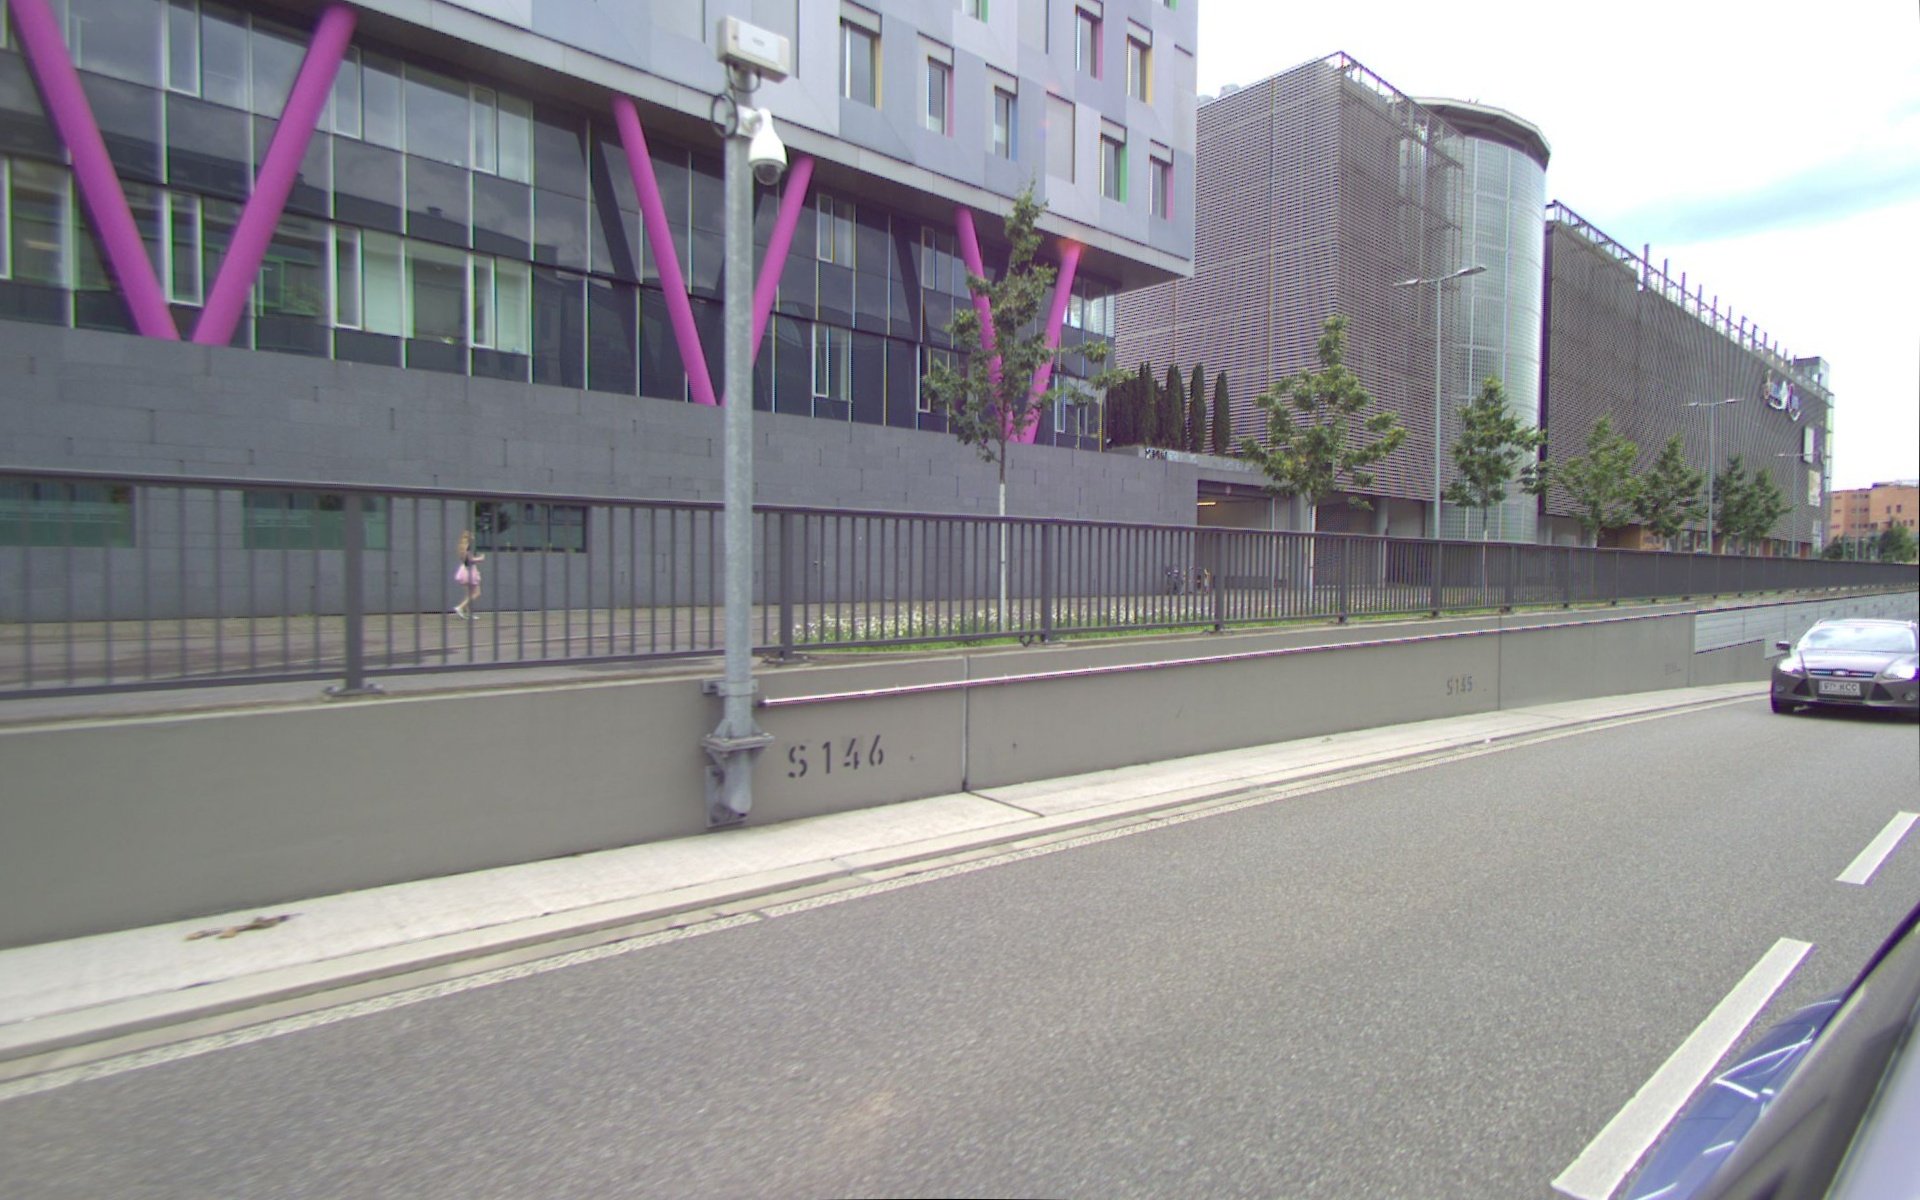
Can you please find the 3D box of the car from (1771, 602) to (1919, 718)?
[{"bbox_3d":[14.058,0.863,15.546,4.193,1.518,1.751,2,0,-41],"label":"car"}]
